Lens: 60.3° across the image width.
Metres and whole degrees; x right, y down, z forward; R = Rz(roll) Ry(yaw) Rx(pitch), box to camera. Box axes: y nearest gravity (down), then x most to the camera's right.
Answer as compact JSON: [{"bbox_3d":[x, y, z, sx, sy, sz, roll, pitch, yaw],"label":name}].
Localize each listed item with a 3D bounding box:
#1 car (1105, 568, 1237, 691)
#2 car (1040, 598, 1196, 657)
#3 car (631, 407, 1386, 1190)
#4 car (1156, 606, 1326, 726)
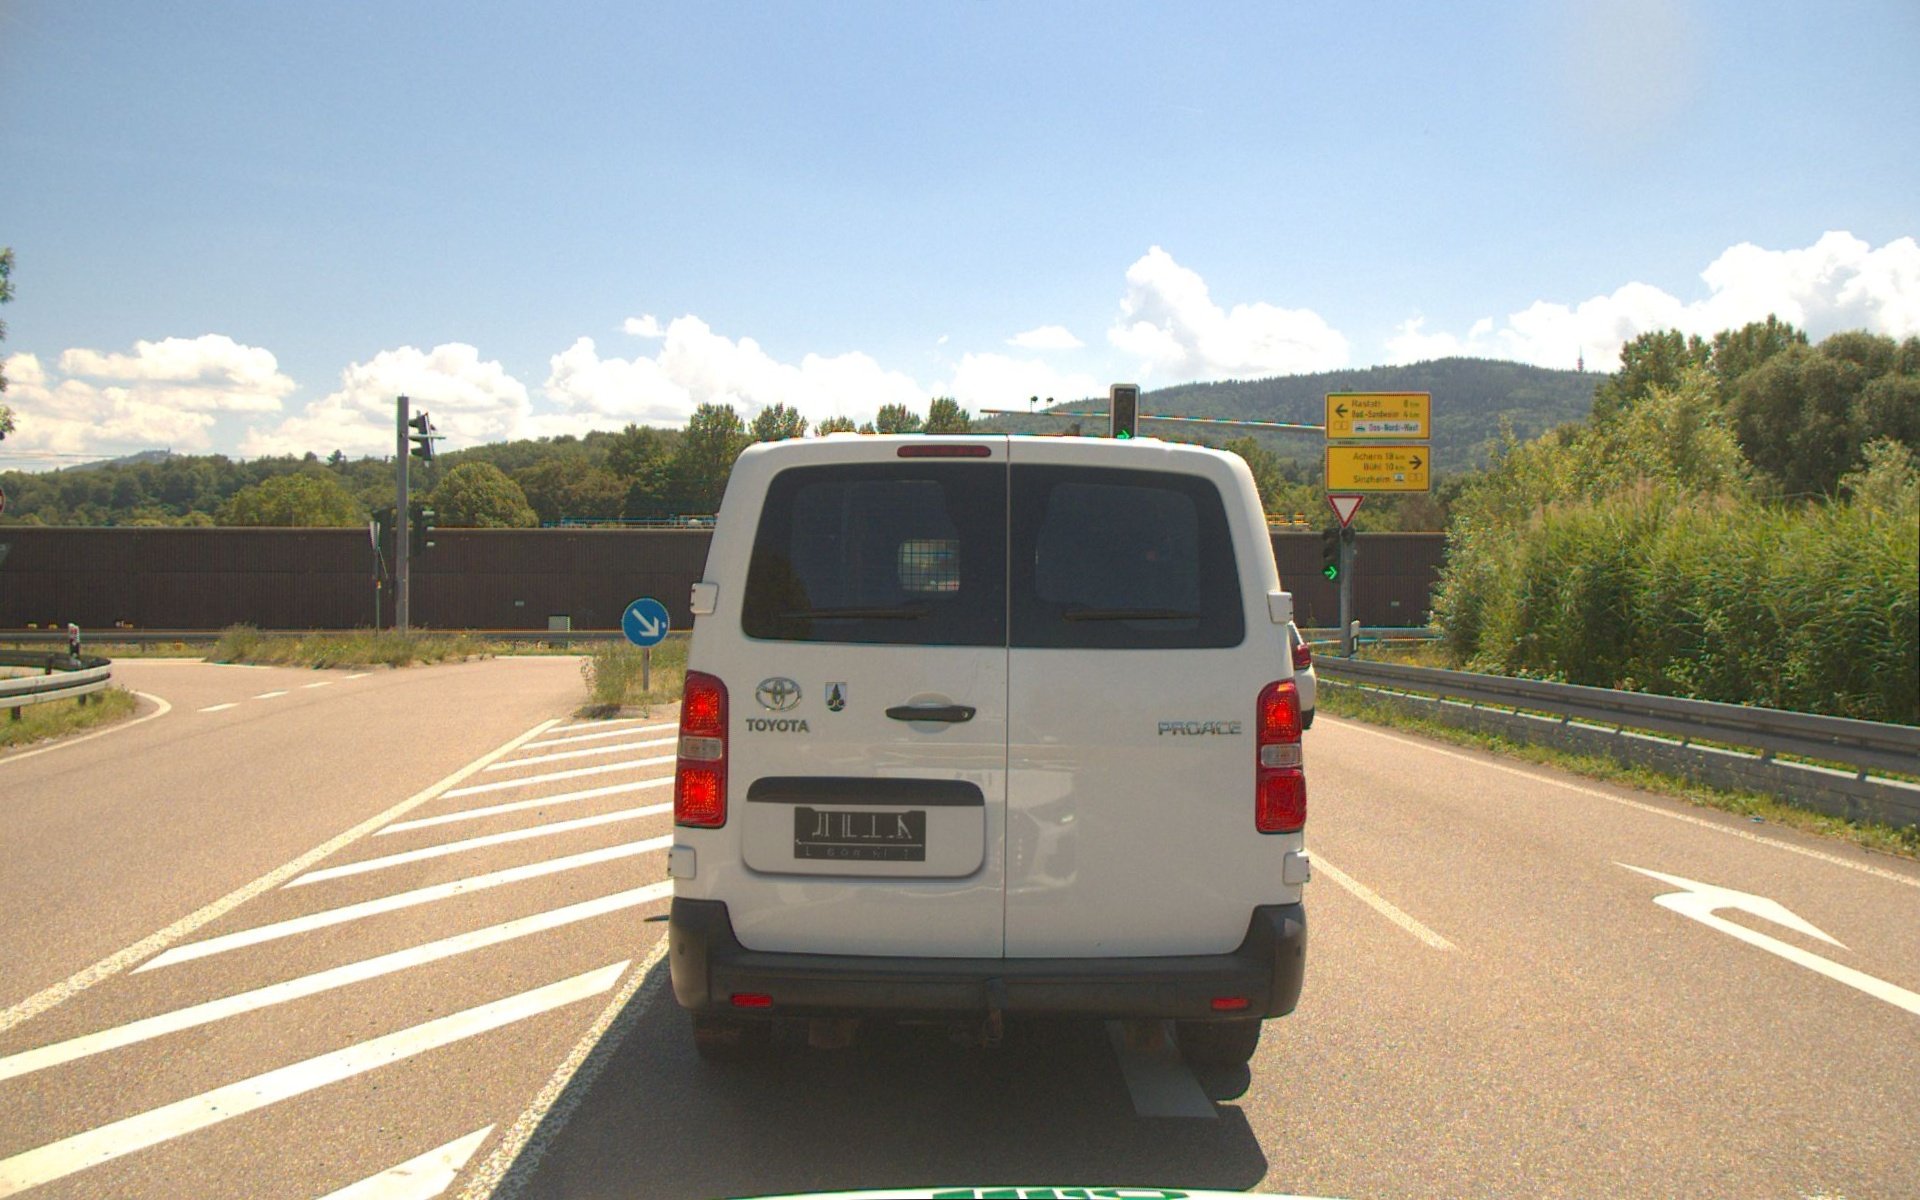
[{"bbox_3d":[3.769,0.508,30.298,1.888,2.035,4.838,1,0,1],"label":"car"},{"bbox_3d":[4.653,0.813,48.880,4.232,1.685,1.995,0,0,-11],"label":"car"},{"bbox_3d":[0.083,0.505,6.097,1.848,1.919,3.999,1,0,-1],"label":"car"},{"bbox_3d":[3.657,0.817,22.052,1.622,1.456,3.365,1,0,-1],"label":"car"}]
